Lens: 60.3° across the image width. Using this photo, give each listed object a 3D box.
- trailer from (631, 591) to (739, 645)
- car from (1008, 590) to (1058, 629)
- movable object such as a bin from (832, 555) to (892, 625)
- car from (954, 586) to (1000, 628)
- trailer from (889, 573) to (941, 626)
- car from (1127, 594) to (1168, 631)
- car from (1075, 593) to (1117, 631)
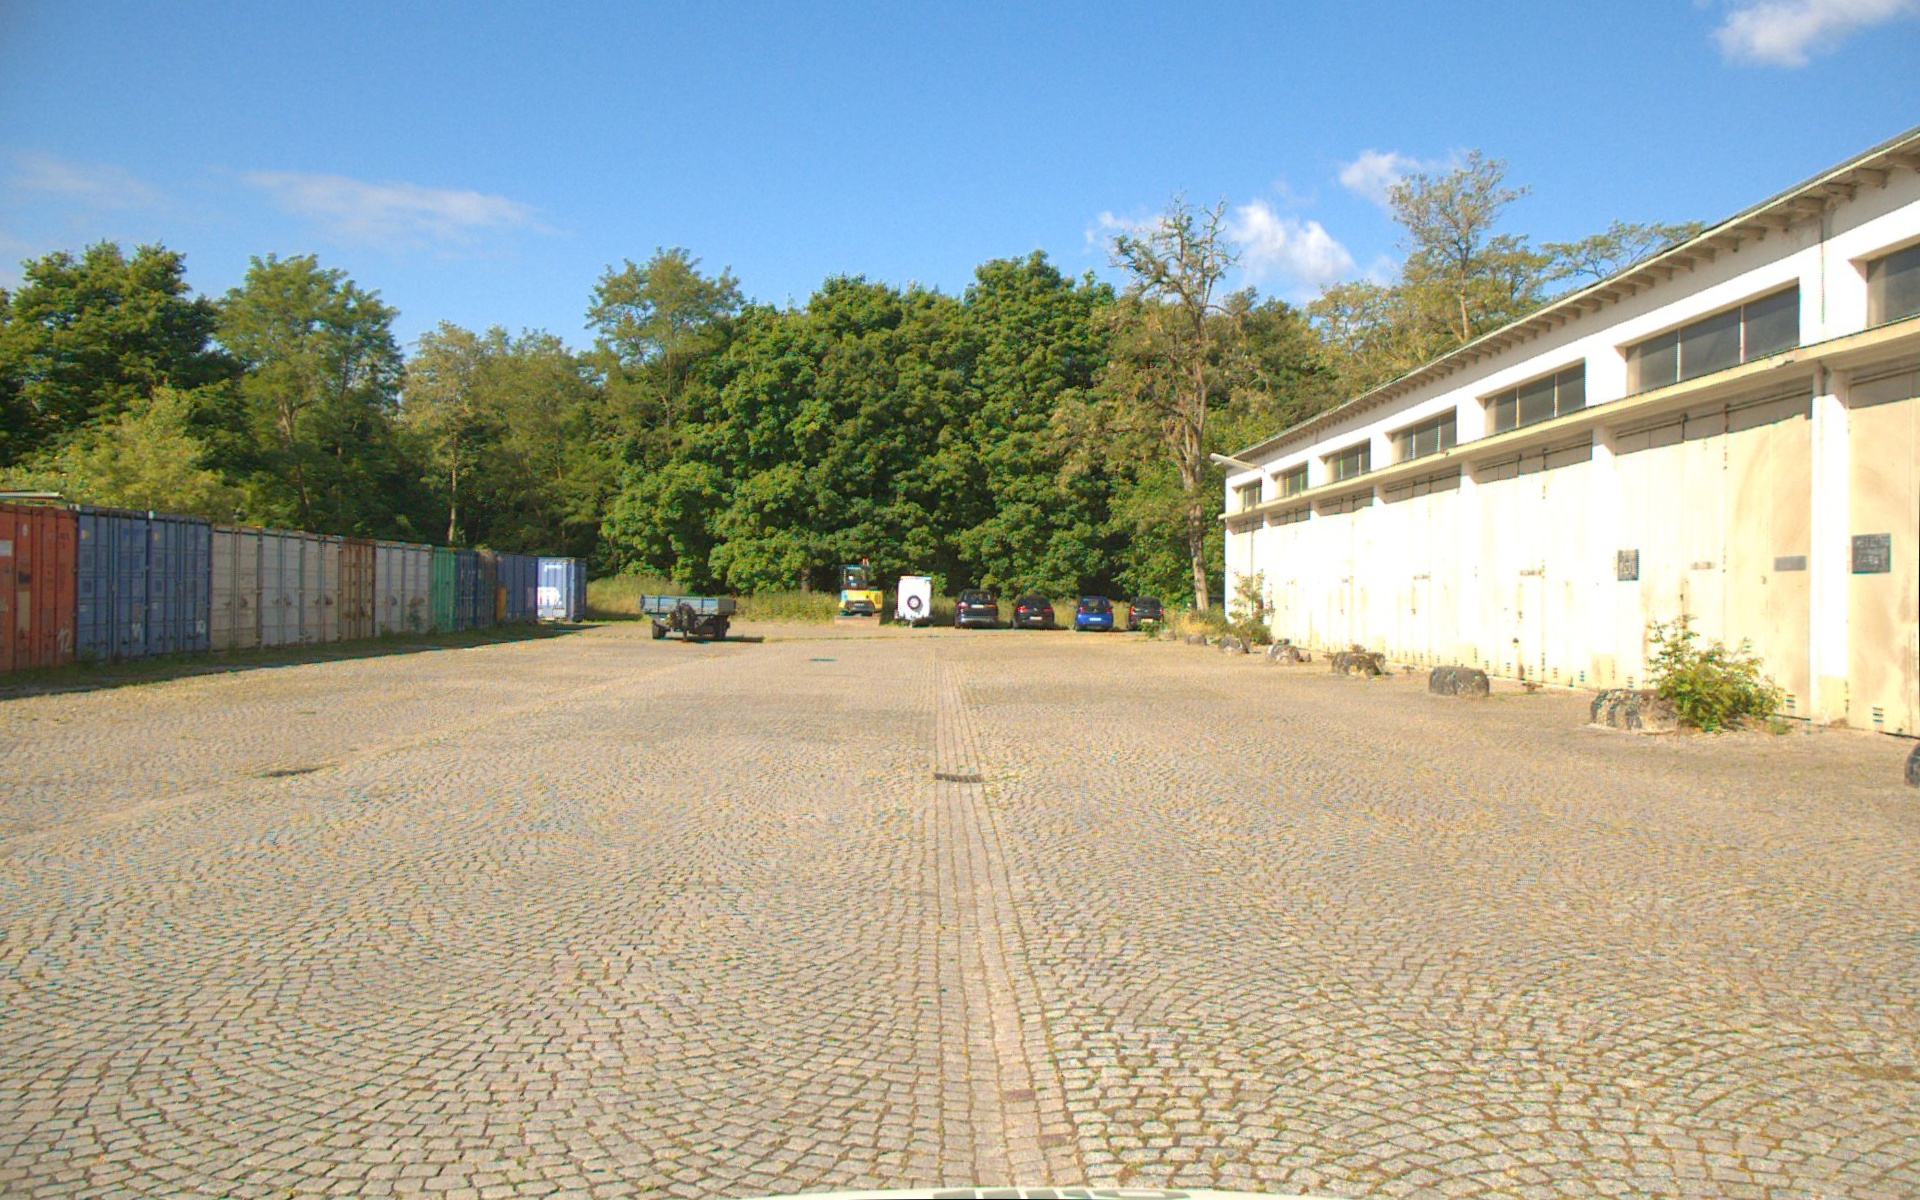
[{"bbox_3d":[-8.730,0.539,53.117,2.651,1.491,6.245,2,1,-2],"label":"trailer"},{"bbox_3d":[3.135,0.389,71.445,1.826,1.495,4.295,2,1,-1],"label":"car"},{"bbox_3d":[-4.321,-0.505,73.895,2.259,2.947,5.751,2,1,0],"label":"movable object such as a bin"},{"bbox_3d":[0.702,0.289,71.026,1.826,1.617,4.295,2,1,-1],"label":"car"},{"bbox_3d":[-1.984,-0.066,73.350,2.149,2.131,5.750,2,1,-1],"label":"trailer"},{"bbox_3d":[8.225,0.535,72.901,1.707,1.461,4.186,2,1,6],"label":"car"},{"bbox_3d":[5.846,0.481,71.442,1.707,1.461,4.185,2,1,4],"label":"car"}]
